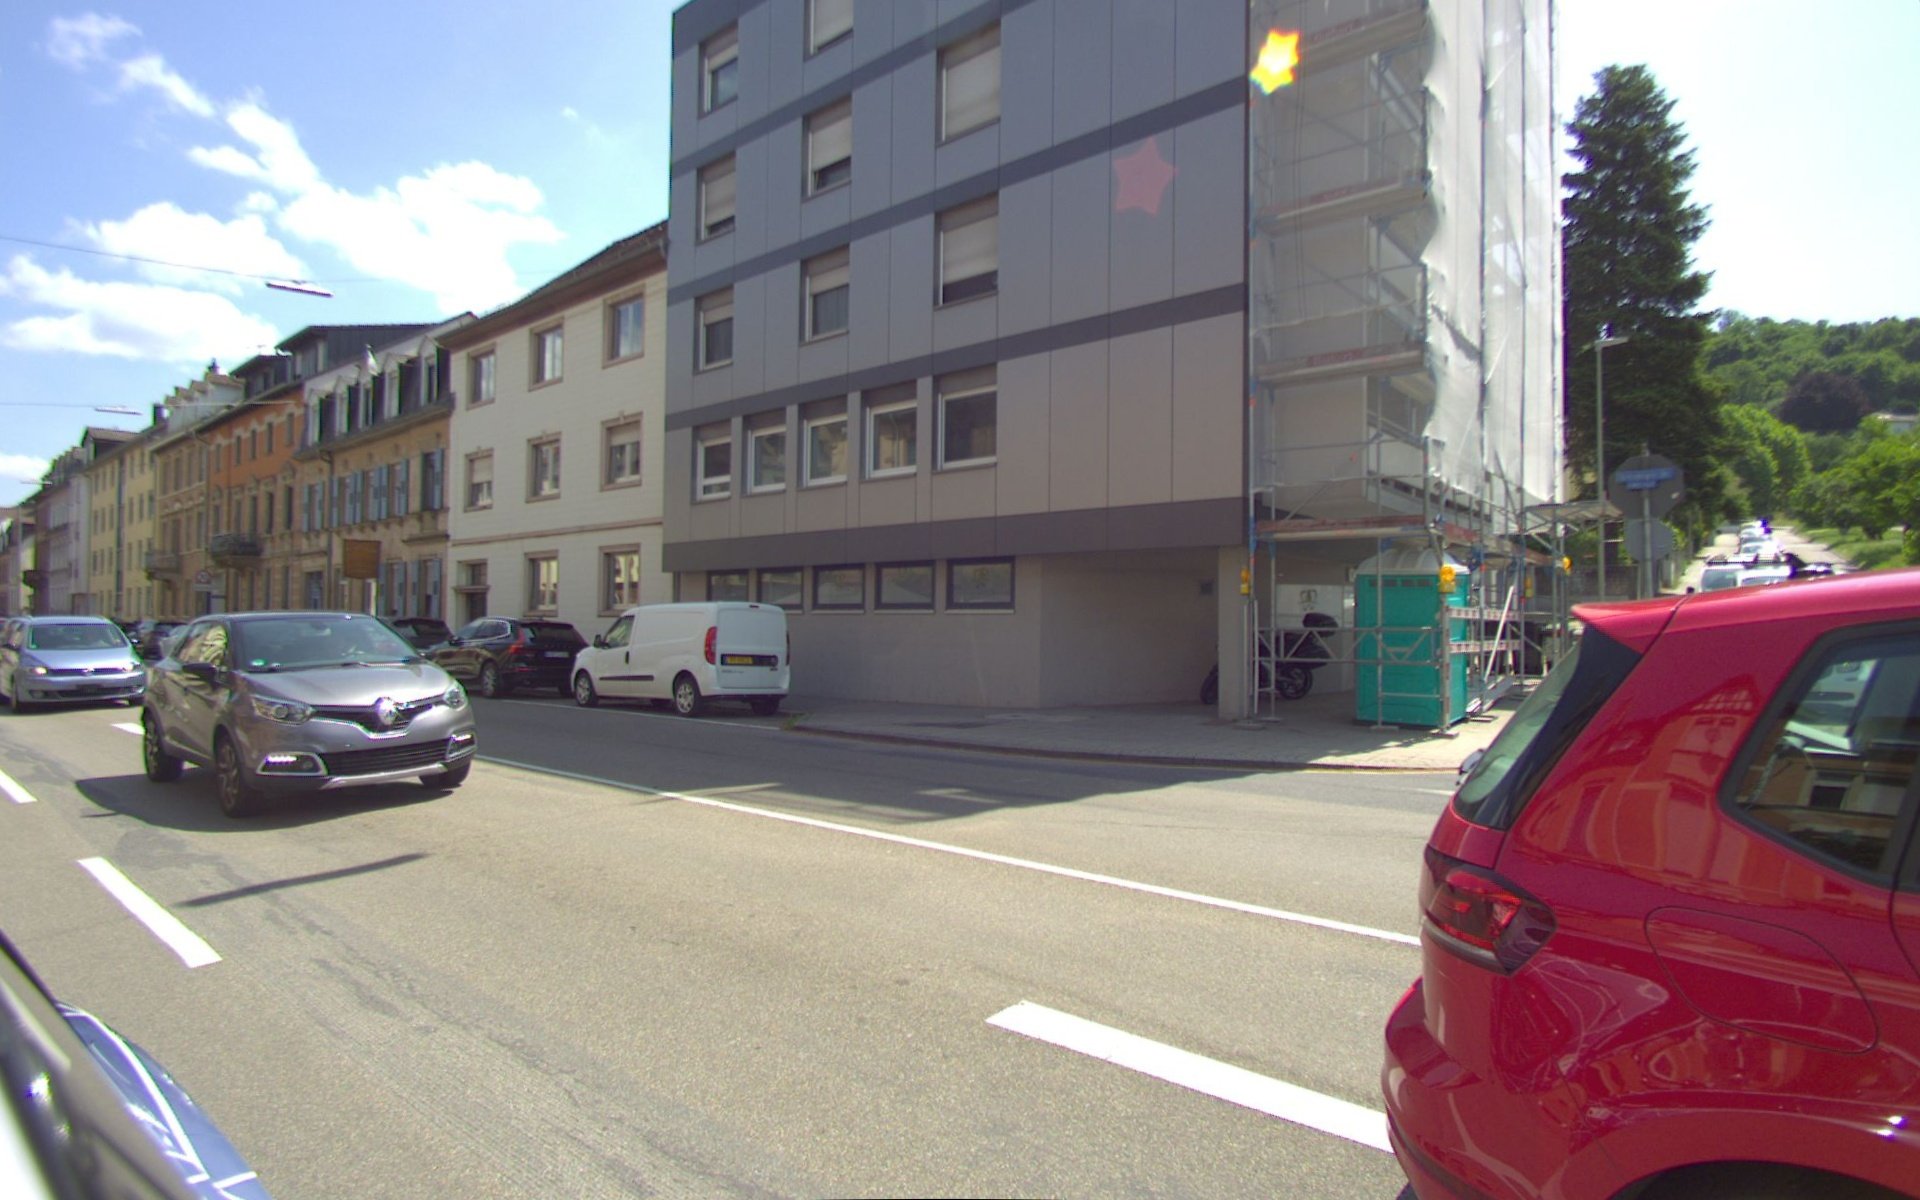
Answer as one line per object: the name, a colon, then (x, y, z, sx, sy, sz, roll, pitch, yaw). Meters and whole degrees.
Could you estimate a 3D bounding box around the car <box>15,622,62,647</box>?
car: (-58.216, 2.177, 63.918, 3.914, 1.421, 1.726, -1, -6, 42)

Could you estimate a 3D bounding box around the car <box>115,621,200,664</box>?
car: (-33.881, 1.785, 42.681, 4.496, 1.640, 1.846, -1, -5, 40)

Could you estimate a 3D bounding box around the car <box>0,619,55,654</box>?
car: (-44.000, 1.711, 47.533, 4.310, 1.587, 1.683, -1, -3, 42)

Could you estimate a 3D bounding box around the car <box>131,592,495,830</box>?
car: (-5.859, 0.804, 8.971, 3.999, 1.644, 1.735, -1, -1, 42)

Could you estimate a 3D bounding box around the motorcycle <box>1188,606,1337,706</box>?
motorcycle: (4.691, 0.849, 15.754, 2.009, 1.483, 0.884, 0, -1, -11)

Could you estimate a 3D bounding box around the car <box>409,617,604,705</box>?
car: (-9.621, 1.219, 21.316, 4.659, 1.653, 1.866, -1, -3, 40)

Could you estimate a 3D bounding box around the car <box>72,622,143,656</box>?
car: (-42.635, 1.935, 50.579, 4.497, 1.563, 1.846, -1, -5, 40)

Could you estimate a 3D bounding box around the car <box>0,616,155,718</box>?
car: (-15.621, 1.082, 17.701, 3.998, 1.580, 1.736, -1, -1, 42)

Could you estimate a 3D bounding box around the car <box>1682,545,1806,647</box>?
car: (19.182, -0.171, 24.679, 2.074, 2.193, 4.944, -1, 2, 41)

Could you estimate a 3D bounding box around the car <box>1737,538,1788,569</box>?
car: (41.405, -2.397, 52.265, 1.754, 1.458, 3.697, -1, 2, 34)

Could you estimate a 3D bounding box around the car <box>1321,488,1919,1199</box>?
car: (2.754, 0.625, 1.172, 4.036, 1.569, 1.780, -1, -1, 42)

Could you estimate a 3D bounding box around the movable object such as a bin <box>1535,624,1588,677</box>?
movable object such as a bin: (11.074, 0.914, 18.631, 0.703, 0.933, 0.730, -1, -1, 42)

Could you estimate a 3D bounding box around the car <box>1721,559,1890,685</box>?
car: (15.775, 0.296, 19.140, 1.996, 2.028, 4.953, -1, 1, 35)

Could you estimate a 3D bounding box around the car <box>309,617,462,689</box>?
car: (-14.492, 1.279, 25.412, 4.816, 1.653, 1.865, -1, -3, 42)

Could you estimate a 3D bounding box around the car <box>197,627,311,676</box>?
car: (-23.626, 1.704, 33.832, 4.325, 1.417, 1.847, 0, -5, 38)

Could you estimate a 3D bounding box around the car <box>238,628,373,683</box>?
car: (-19.602, 1.628, 30.235, 4.832, 1.417, 1.847, 0, -5, 39)

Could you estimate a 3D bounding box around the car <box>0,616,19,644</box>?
car: (-52.559, 1.598, 55.000, 4.132, 1.489, 1.683, -1, -3, 42)

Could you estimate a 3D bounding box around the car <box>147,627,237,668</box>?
car: (-29.913, 1.833, 39.369, 4.328, 1.437, 1.845, -1, -5, 41)

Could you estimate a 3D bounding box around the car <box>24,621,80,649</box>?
car: (-54.429, 2.084, 60.656, 4.311, 1.563, 1.845, -1, -5, 41)

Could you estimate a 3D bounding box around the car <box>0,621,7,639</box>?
car: (-80.752, 2.432, 84.029, 4.099, 1.421, 1.728, 0, -5, 38)

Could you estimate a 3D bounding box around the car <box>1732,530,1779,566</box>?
car: (43.619, -2.877, 55.546, 1.754, 1.828, 3.697, -1, 2, 34)

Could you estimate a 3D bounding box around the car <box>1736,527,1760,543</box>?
car: (75.319, -6.209, 96.802, 1.756, 1.458, 3.693, -1, 2, 38)

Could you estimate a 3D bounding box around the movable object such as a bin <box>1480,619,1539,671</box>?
movable object such as a bin: (10.428, 0.841, 19.192, 0.826, 0.933, 0.730, -1, -1, 42)

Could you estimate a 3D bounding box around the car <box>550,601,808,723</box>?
car: (-4.961, 1.005, 17.532, 4.784, 1.839, 1.894, -1, -3, 40)

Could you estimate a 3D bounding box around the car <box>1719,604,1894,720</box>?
car: (12.380, 0.820, 15.008, 1.755, 1.458, 3.693, -1, -1, 37)
